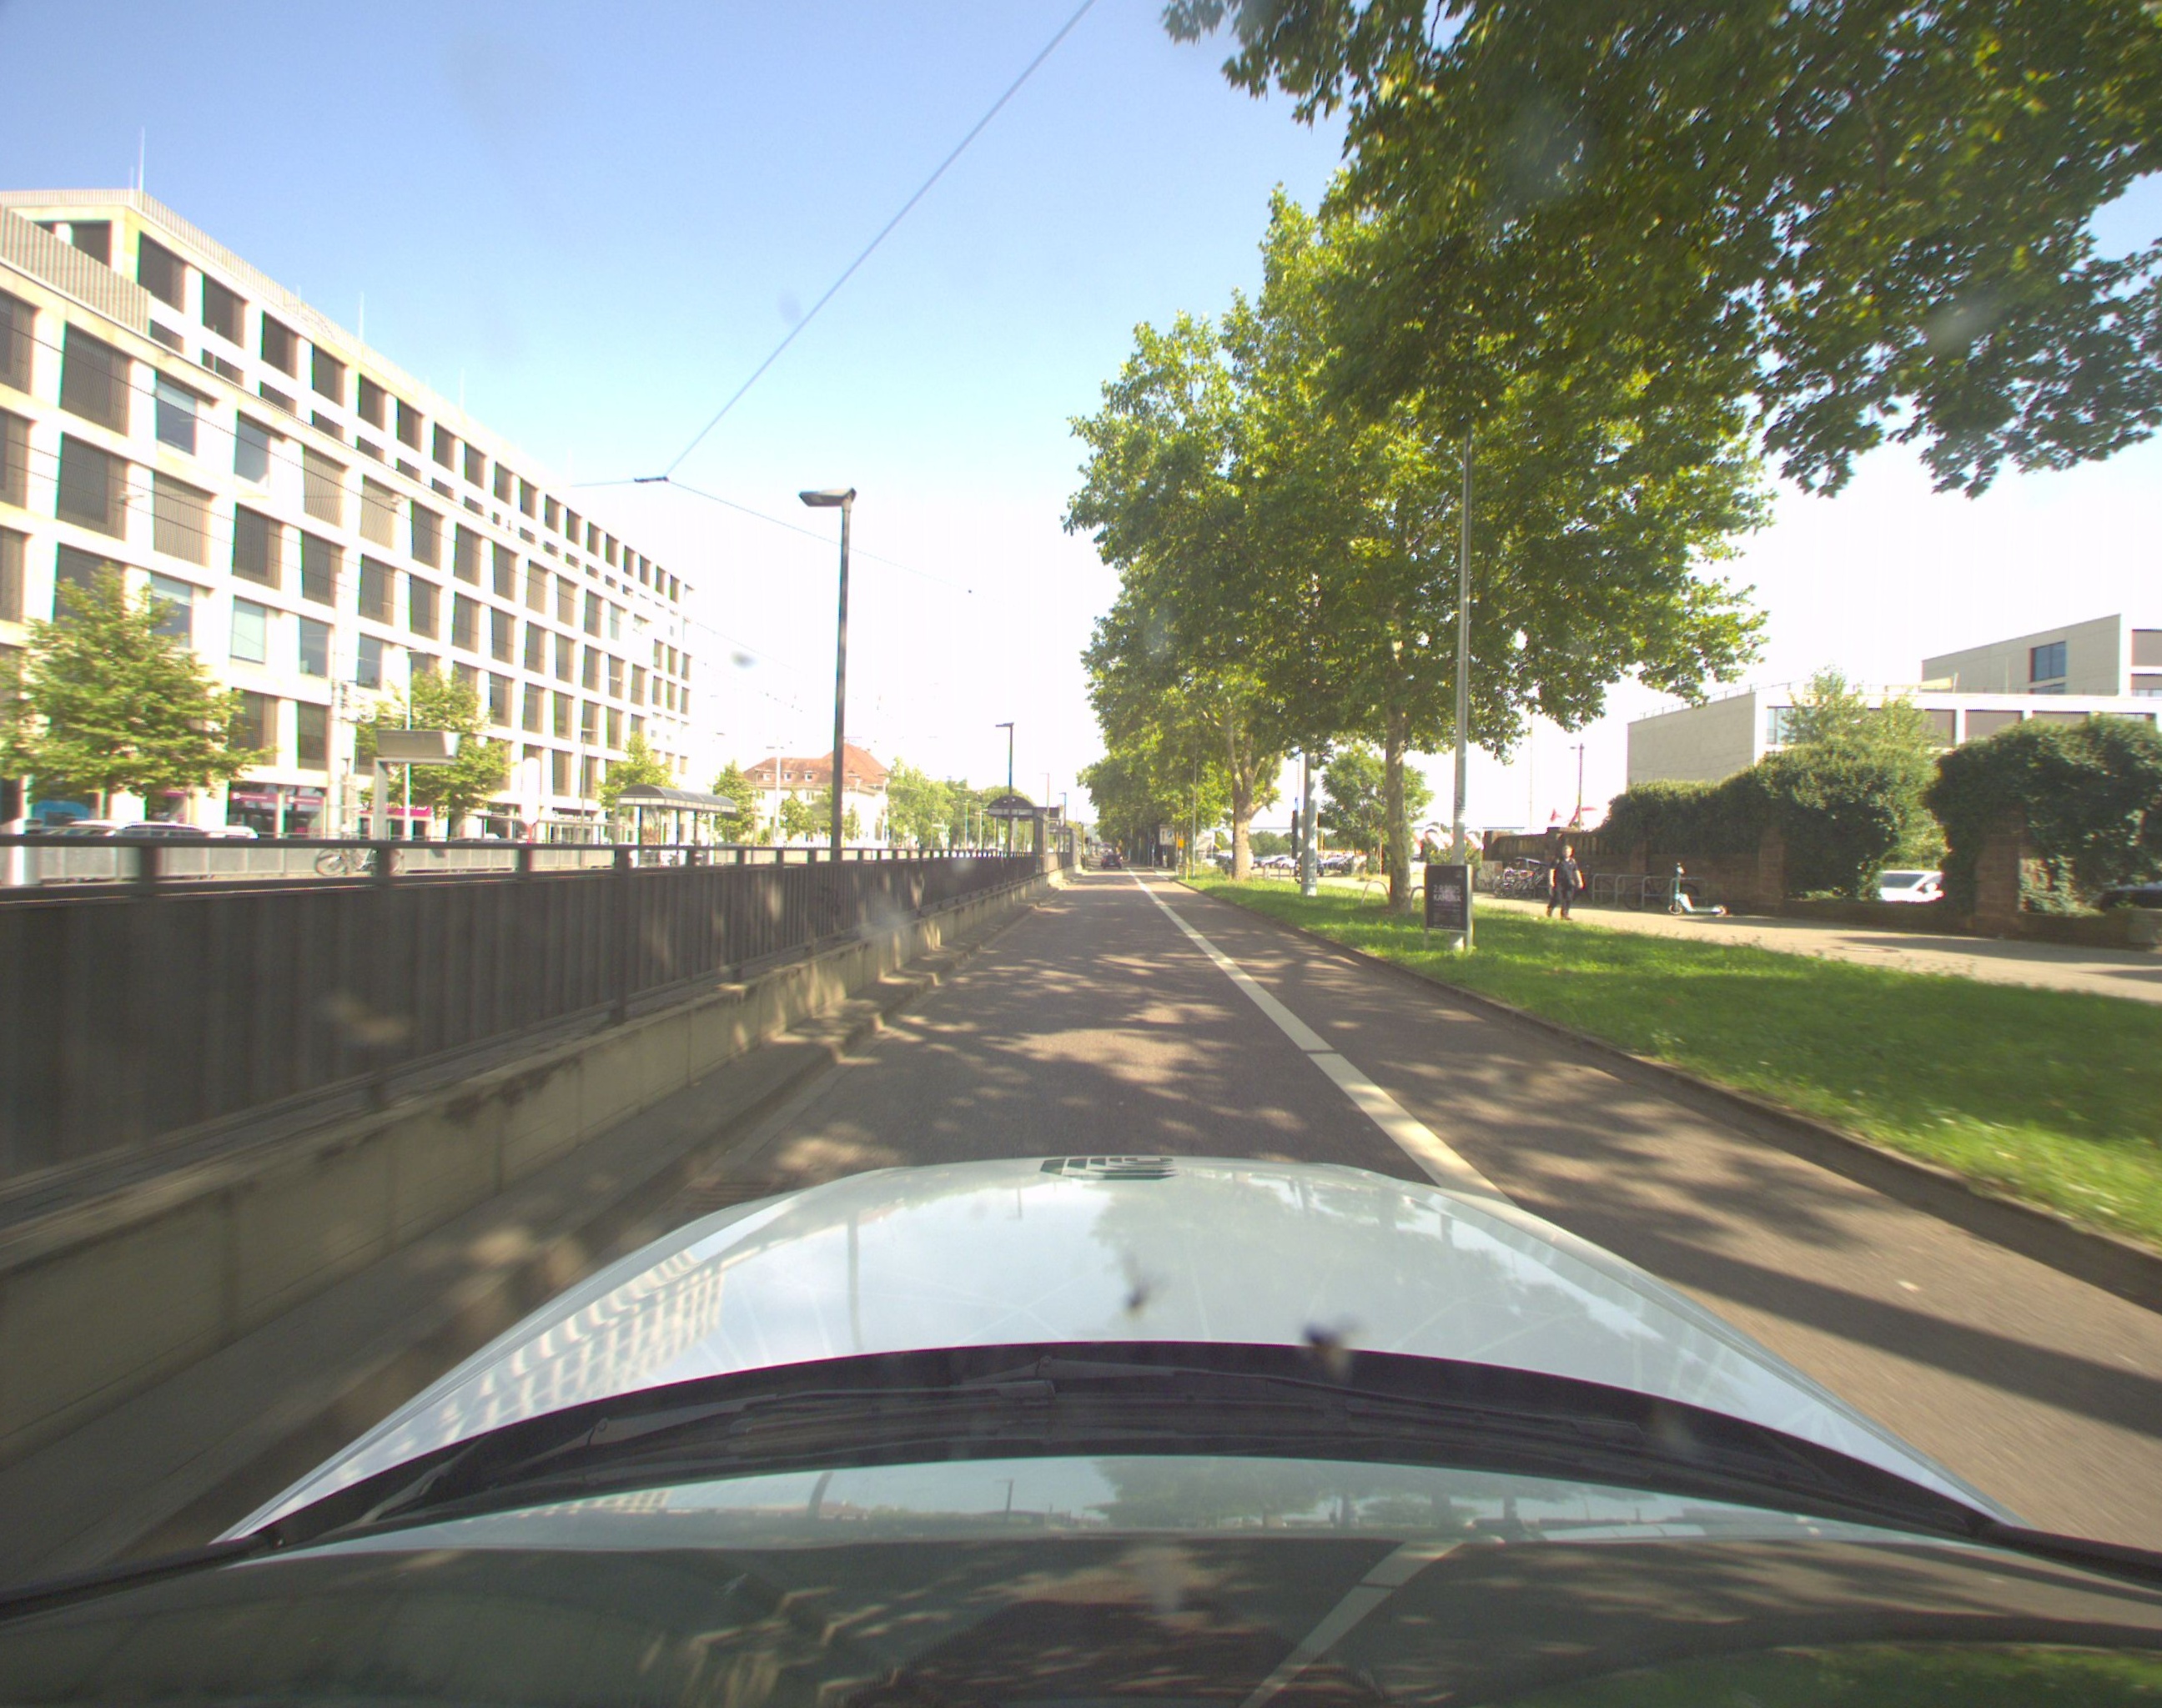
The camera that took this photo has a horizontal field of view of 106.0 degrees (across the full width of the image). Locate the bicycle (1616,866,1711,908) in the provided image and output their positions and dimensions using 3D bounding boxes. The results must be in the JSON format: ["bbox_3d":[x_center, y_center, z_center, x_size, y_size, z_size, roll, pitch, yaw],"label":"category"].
[{"bbox_3d":[14.514,0.820,20.317,1.861,1.006,0.735,1,0,-1],"label":"bicycle"}]

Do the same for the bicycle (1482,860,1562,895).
[{"bbox_3d":[14.316,0.750,26.466,2.163,1.076,0.744,-2,0,5],"label":"bicycle"}]

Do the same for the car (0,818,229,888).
[{"bbox_3d":[-24.904,-0.029,20.873,1.758,1.603,4.132,0,0,0],"label":"car"}]

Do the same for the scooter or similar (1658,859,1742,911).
[{"bbox_3d":[14.514,0.724,19.127,1.498,1.191,0.539,-1,-1,5],"label":"scooter or similar"}]

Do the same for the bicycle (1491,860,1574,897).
[{"bbox_3d":[14.199,0.762,25.652,2.163,1.076,0.744,-1,0,5],"label":"bicycle"}]

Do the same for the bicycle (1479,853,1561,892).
[{"bbox_3d":[15.050,0.639,27.953,2.236,1.277,0.999,-1,-1,0],"label":"bicycle"}]

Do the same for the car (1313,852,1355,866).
[{"bbox_3d":[30.172,0.608,97.232,4.330,1.464,1.947,1,0,-1],"label":"car"}]

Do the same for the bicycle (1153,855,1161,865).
[{"bbox_3d":[8.493,0.661,91.240,0.608,1.022,2.400,0,0,-2],"label":"bicycle"}]

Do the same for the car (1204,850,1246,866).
[{"bbox_3d":[14.468,0.391,81.952,3.973,1.586,2.000,1,0,0],"label":"car"}]

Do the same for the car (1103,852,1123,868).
[{"bbox_3d":[3.089,0.564,79.134,1.901,1.537,4.001,-1,0,1],"label":"car"}]

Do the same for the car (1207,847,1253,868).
[{"bbox_3d":[13.855,0.325,76.013,4.085,1.918,1.850,-1,0,4],"label":"car"}]

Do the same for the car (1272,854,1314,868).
[{"bbox_3d":[24.574,0.765,94.354,4.330,1.464,1.947,1,0,-1],"label":"car"}]

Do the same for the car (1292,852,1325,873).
[{"bbox_3d":[17.764,0.646,63.743,1.601,1.575,3.798,0,0,2],"label":"car"}]

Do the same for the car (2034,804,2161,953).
[{"bbox_3d":[20.362,0.435,13.919,5.352,2.434,2.252,1,0,3],"label":"car"}]

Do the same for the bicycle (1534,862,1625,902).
[{"bbox_3d":[14.327,0.796,23.438,2.166,1.076,0.743,1,0,-1],"label":"bicycle"}]

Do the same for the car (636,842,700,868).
[{"bbox_3d":[-23.940,0.037,47.362,1.705,1.446,4.008,0,0,0],"label":"car"}]

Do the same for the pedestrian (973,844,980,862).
[{"bbox_3d":[-10.540,-0.088,81.910,0.707,1.821,0.771,-1,-1,-8],"label":"pedestrian"}]

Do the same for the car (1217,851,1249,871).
[{"bbox_3d":[11.647,0.523,62.654,1.721,1.448,4.553,0,0,2],"label":"car"}]

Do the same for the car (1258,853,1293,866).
[{"bbox_3d":[26.725,0.781,112.150,4.330,1.712,1.947,1,0,-1],"label":"car"}]

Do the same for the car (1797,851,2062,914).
[{"bbox_3d":[21.073,0.673,20.348,4.891,1.479,2.181,0,0,-8],"label":"car"}]

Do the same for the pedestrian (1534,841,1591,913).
[{"bbox_3d":[10.516,0.489,17.815,0.781,1.515,0.787,0,0,1],"label":"pedestrian"}]

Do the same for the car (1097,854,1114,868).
[{"bbox_3d":[2.951,0.844,98.707,1.966,1.537,4.000,-3,0,1],"label":"car"}]

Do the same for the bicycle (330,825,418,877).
[{"bbox_3d":[-16.404,-0.060,18.935,0.467,1.147,1.490,1,0,16],"label":"bicycle"}]
